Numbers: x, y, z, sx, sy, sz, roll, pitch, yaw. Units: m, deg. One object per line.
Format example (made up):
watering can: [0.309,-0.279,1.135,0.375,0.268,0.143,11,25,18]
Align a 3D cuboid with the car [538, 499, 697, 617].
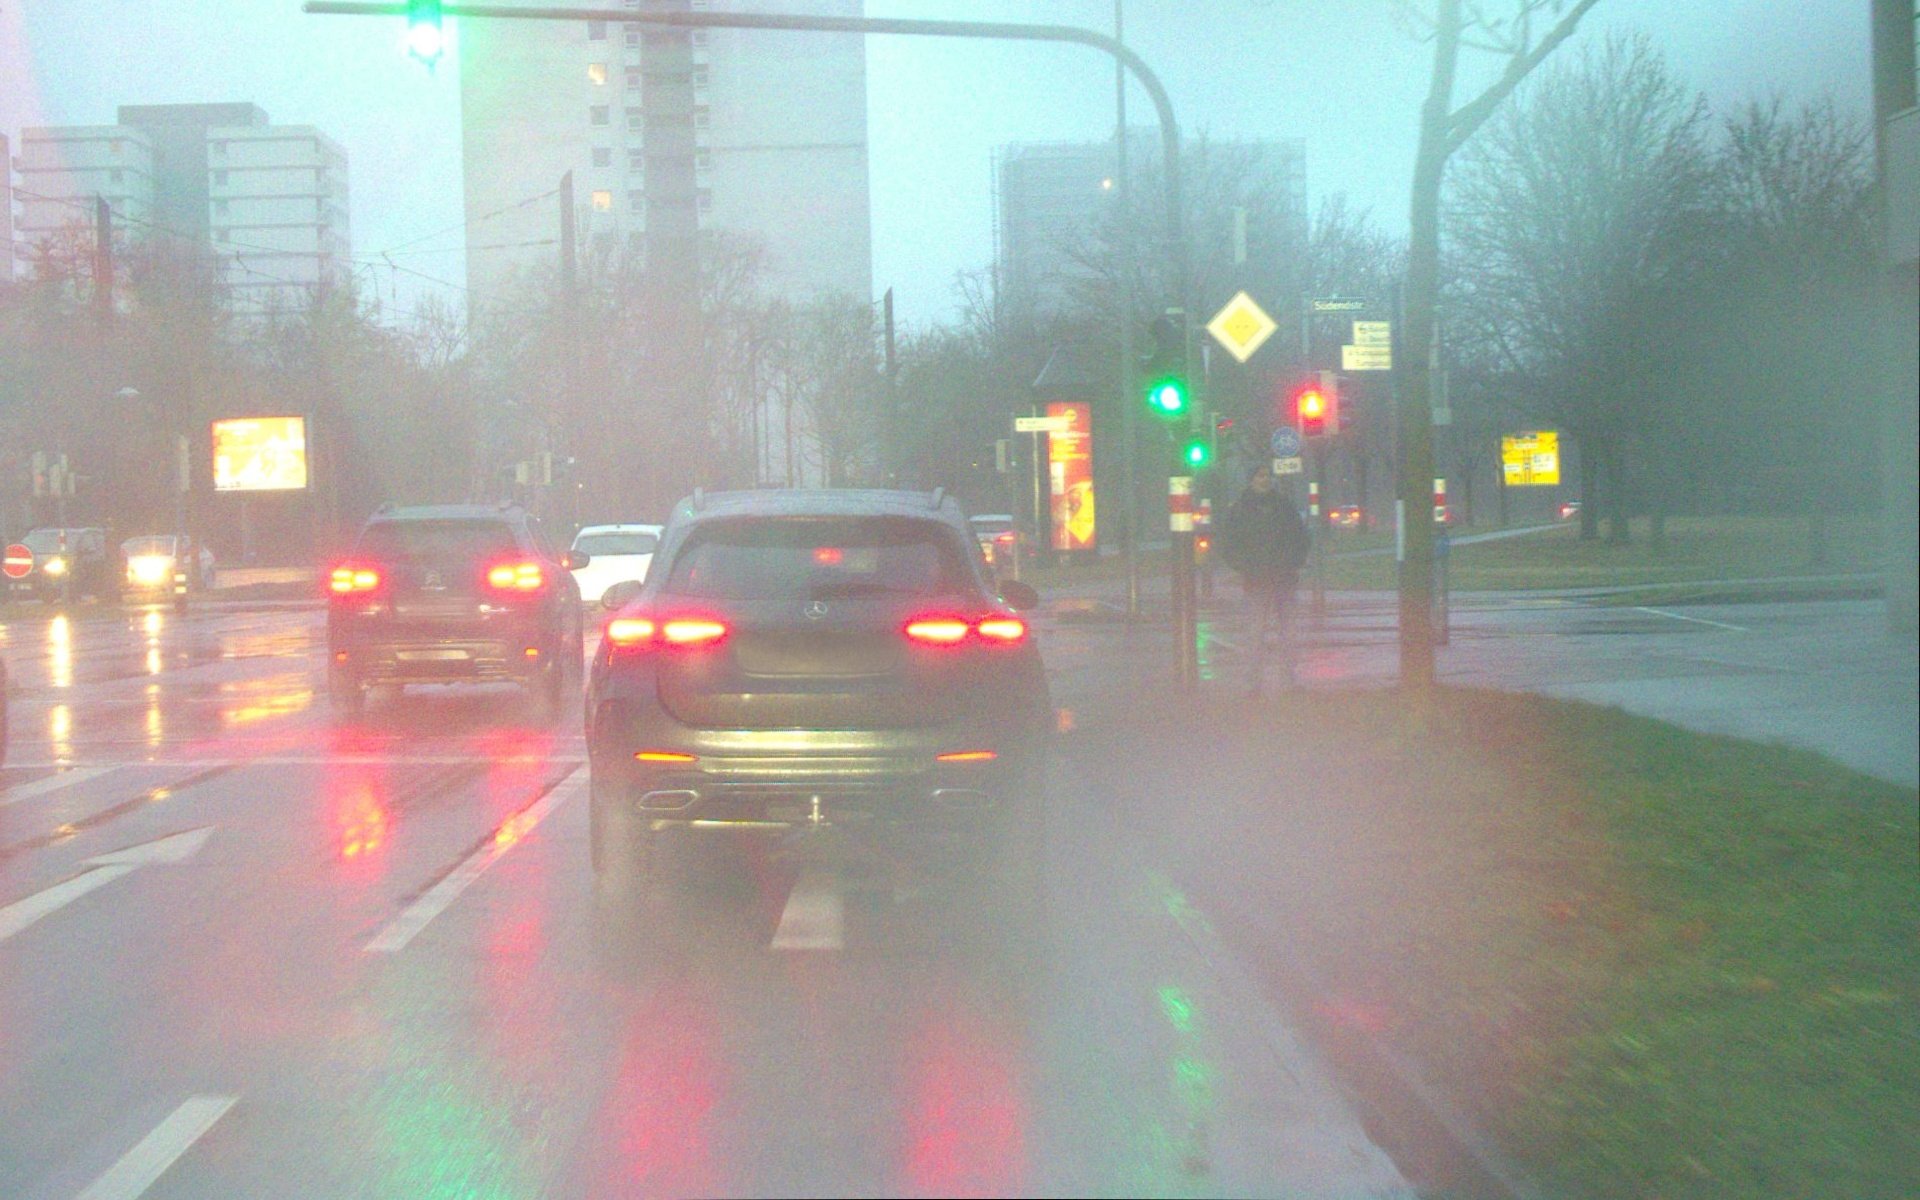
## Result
car: [-4.934,-0.603,50.000,1.993,1.636,4.022,0,0,-1]

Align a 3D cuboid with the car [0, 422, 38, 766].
car: [-6.603,0.013,18.611,1.952,2.026,4.883,-1,1,-1]

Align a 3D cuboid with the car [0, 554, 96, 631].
car: [-19.879,-0.166,73.833,1.804,1.601,4.000,0,0,-3]

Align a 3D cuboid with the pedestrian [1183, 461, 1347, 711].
pedestrian: [2.266,-0.111,25.487,0.797,1.744,0.860,-5,2,26]

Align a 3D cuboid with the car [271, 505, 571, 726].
car: [-4.420,0.104,28.801,1.993,1.706,4.325,0,0,-2]

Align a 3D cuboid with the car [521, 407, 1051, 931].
car: [-0.744,0.242,15.021,1.993,1.969,4.069,0,0,-3]

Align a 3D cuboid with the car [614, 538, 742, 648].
car: [-5.267,-0.148,64.712,1.993,2.007,4.000,0,0,1]

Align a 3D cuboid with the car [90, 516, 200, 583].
car: [-18.973,-1.165,80.245,1.587,1.524,4.935,0,0,-2]
